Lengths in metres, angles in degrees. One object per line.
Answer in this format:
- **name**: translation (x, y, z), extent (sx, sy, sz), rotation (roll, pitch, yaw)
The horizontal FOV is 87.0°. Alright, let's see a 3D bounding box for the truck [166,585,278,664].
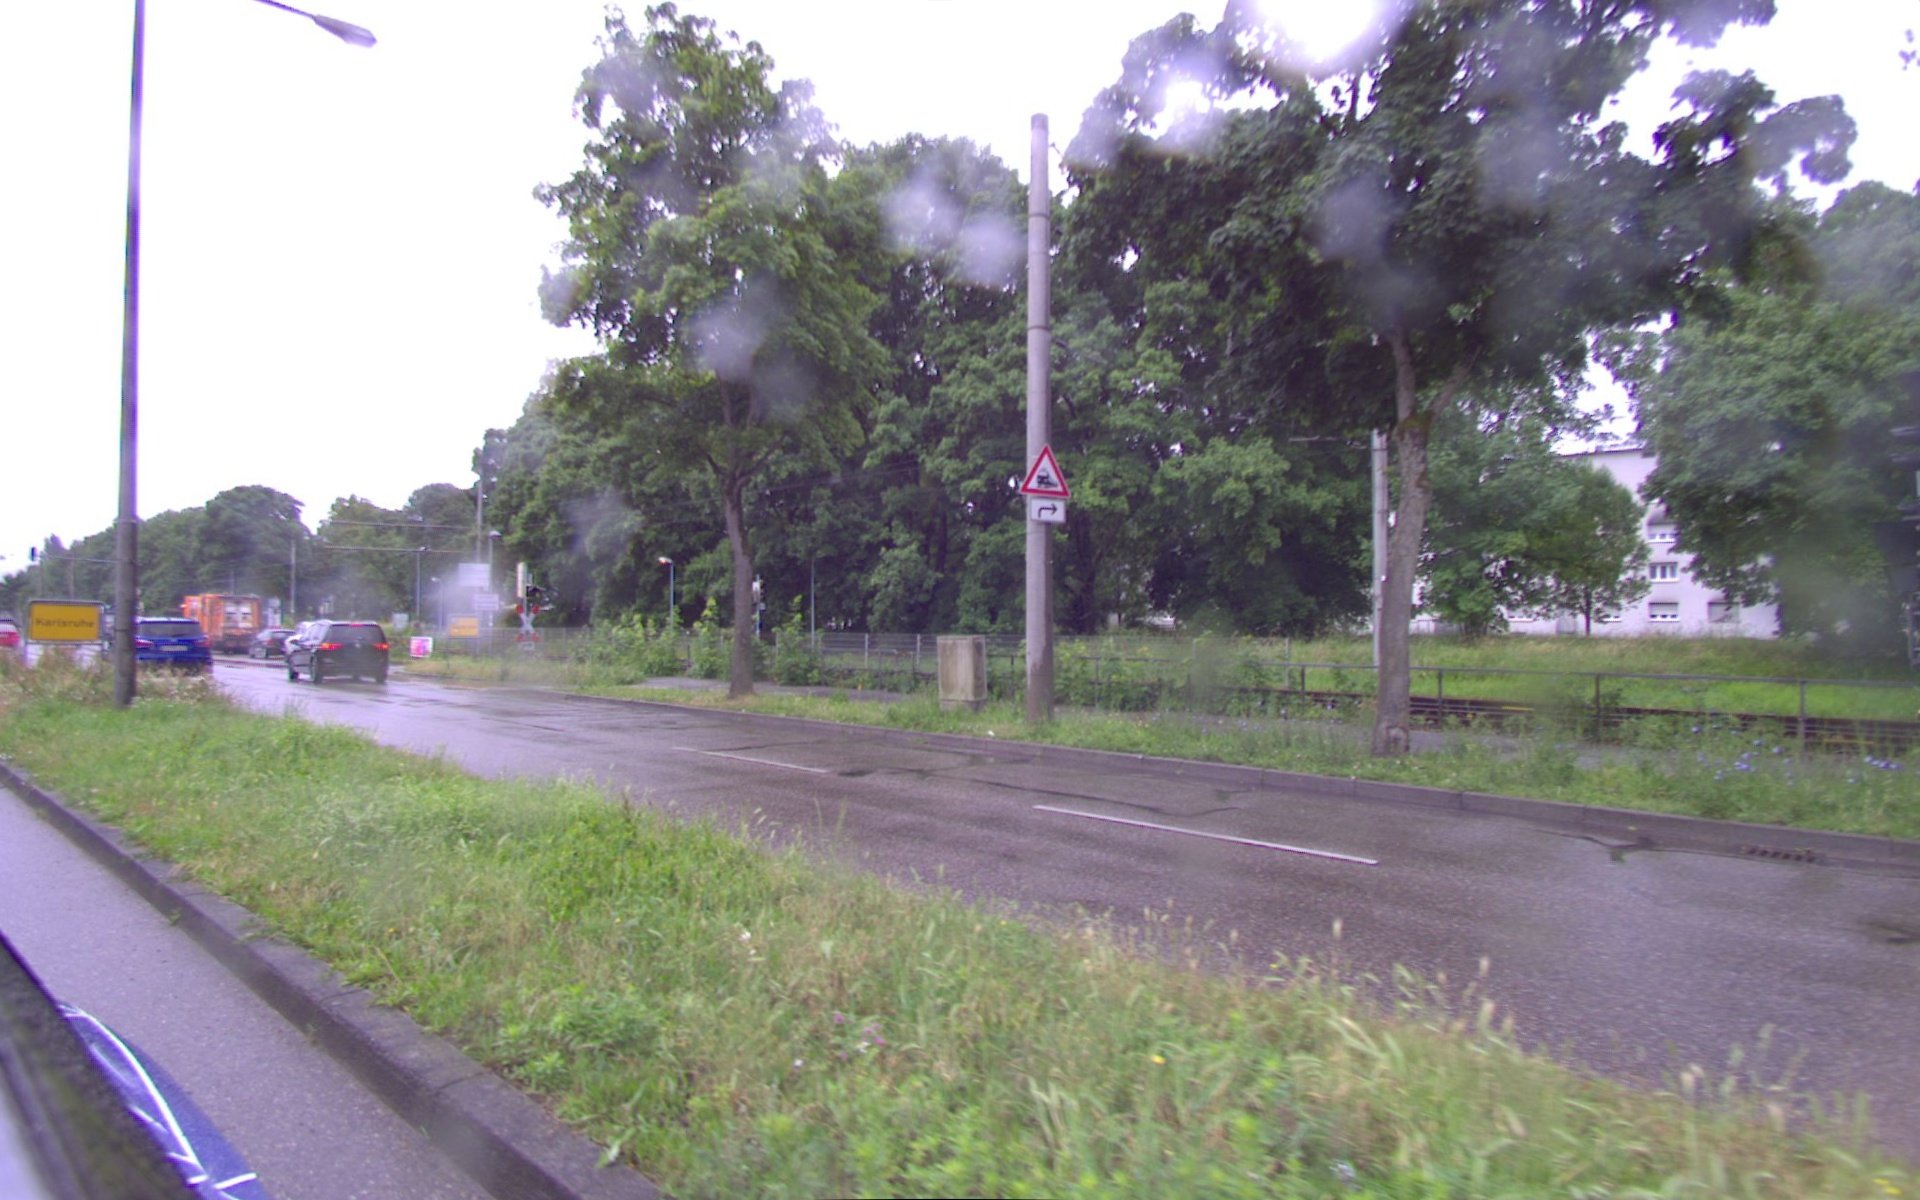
- **truck**: translation (-42.819, 1.328, 58.527), extent (10.408, 4.199, 3.348), rotation (-1, 0, 43)

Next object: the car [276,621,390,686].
- **car**: translation (-17.337, 1.436, 27.907), extent (1.687, 1.654, 4.333), rotation (3, -4, -45)

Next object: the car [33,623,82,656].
- **car**: translation (-58.370, 2.533, 65.415), extent (4.743, 2.033, 1.908), rotation (-2, -4, 44)

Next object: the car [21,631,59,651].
- **car**: translation (-69.414, 3.065, 76.362), extent (3.998, 1.438, 1.623), rotation (-1, -3, 41)

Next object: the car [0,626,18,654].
- **car**: translation (-55.815, 2.282, 58.362), extent (4.428, 1.581, 1.781), rotation (0, -3, 43)

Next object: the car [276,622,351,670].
- **car**: translation (-27.714, 1.894, 43.310), extent (1.969, 1.841, 4.778), rotation (-1, 0, -41)

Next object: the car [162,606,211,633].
- **car**: translation (-52.033, 1.316, 68.087), extent (4.528, 1.722, 1.971), rotation (-1, 0, 44)

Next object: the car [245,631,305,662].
- **car**: translation (-33.289, 2.254, 49.144), extent (3.686, 1.389, 1.570), rotation (-1, -4, 43)

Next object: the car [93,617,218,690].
- **car**: translation (-20.042, 1.299, 25.152), extent (4.135, 1.663, 1.725), rotation (-2, -4, 42)
